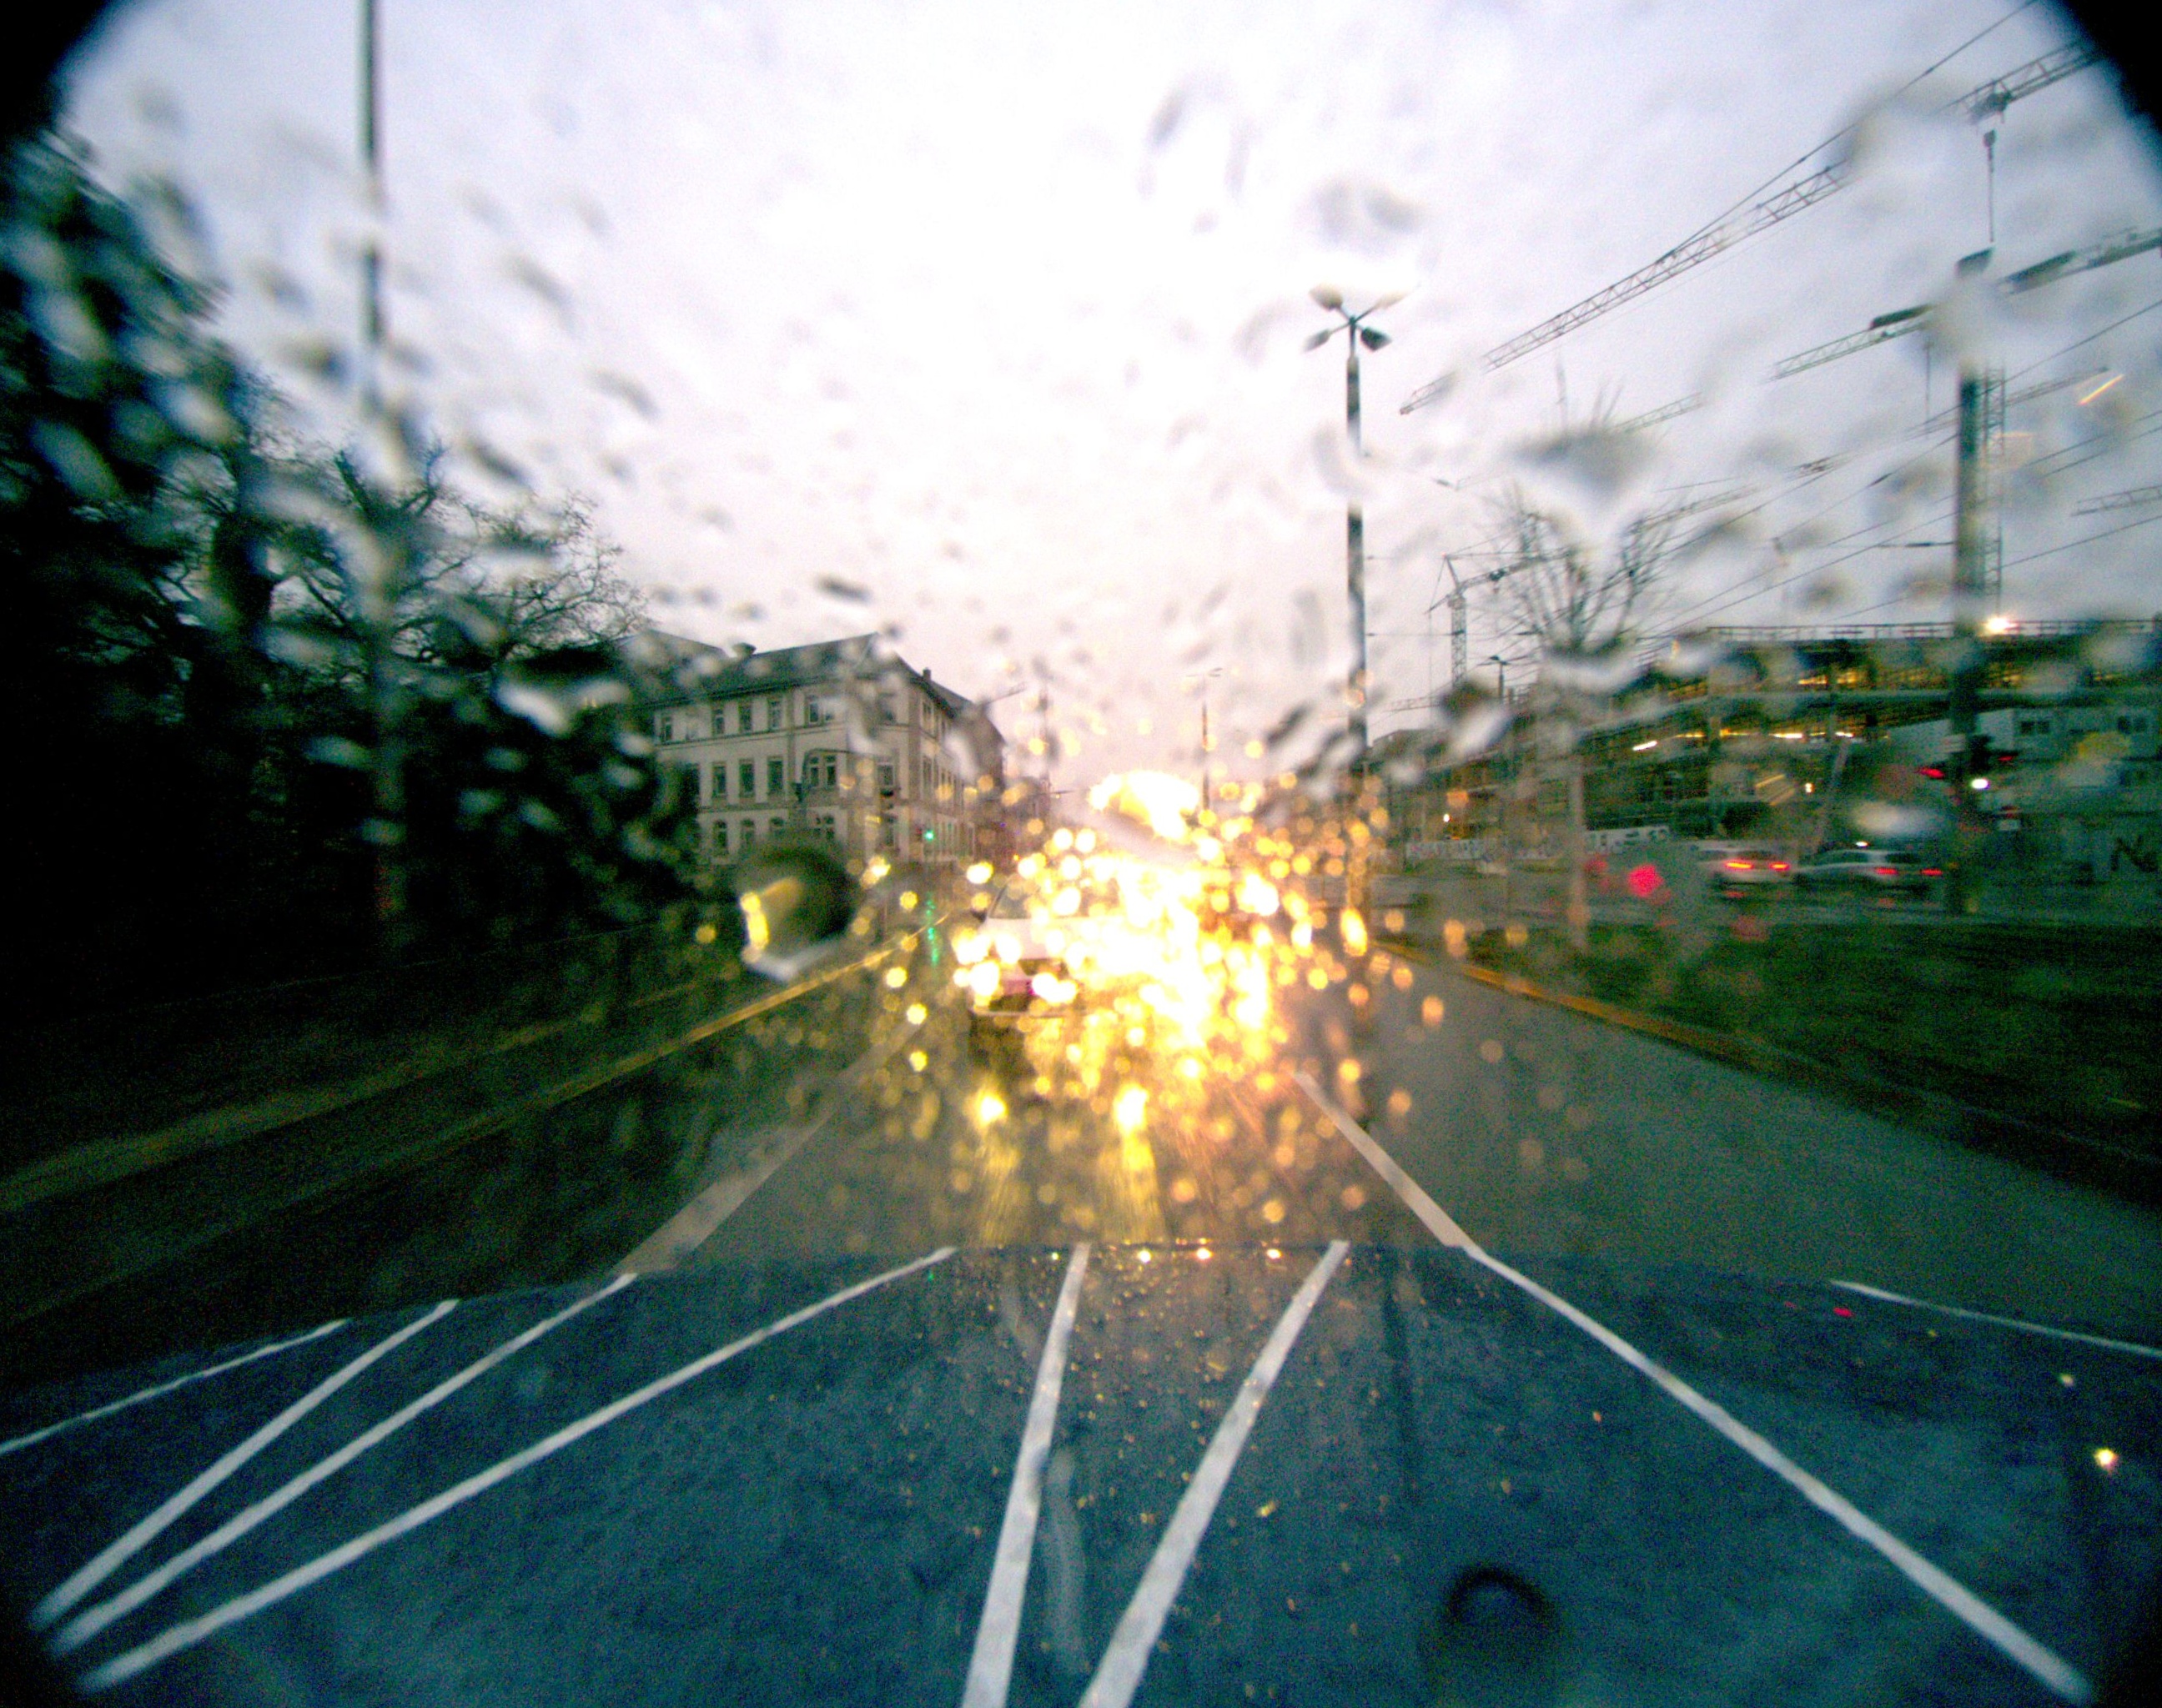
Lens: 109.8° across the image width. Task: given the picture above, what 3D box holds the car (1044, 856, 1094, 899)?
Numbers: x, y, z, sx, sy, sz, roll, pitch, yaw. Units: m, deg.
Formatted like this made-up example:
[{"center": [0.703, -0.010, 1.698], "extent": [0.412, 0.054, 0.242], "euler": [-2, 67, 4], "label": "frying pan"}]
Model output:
[{"center": [-0.483, 0.855, 29.488], "extent": [1.764, 1.443, 3.999], "euler": [-2, 1, -1], "label": "car"}]

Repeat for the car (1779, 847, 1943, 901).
[{"center": [28.697, 0.668, 28.181], "extent": [1.886, 1.779, 4.176], "euler": [-2, 1, 3], "label": "car"}]

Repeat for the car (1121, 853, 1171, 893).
[{"center": [2.941, 0.840, 35.215], "extent": [1.844, 1.644, 4.323], "euler": [-2, 1, -1], "label": "car"}]

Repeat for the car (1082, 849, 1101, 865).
[{"center": [1.076, 0.272, 80.257], "extent": [1.844, 1.547, 3.999], "euler": [-2, 1, 0], "label": "car"}]

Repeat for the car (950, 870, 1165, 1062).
[{"center": [-0.243, 0.989, 8.414], "extent": [1.764, 1.443, 3.999], "euler": [-2, 1, -1], "label": "car"}]

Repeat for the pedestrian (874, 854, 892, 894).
[{"center": [-9.452, 0.938, 36.266], "extent": [0.675, 1.868, 0.714], "euler": [-2, 1, -18], "label": "pedestrian"}]

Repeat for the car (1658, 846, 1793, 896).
[{"center": [25.512, 0.594, 30.323], "extent": [1.885, 1.779, 4.600], "euler": [-2, 1, 7], "label": "car"}]

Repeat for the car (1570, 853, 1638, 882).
[{"center": [31.383, 0.752, 45.723], "extent": [1.884, 1.565, 4.003], "euler": [-2, 1, 10], "label": "car"}]

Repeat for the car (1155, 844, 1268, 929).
[{"center": [2.937, 0.666, 17.937], "extent": [1.858, 1.723, 3.999], "euler": [-2, 1, -1], "label": "car"}]

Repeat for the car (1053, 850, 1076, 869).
[{"center": [-1.440, 0.484, 66.659], "extent": [1.844, 1.547, 3.999], "euler": [-2, 1, 0], "label": "car"}]

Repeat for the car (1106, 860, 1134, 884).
[{"center": [2.842, 1.305, 55.821], "extent": [1.844, 1.547, 3.999], "euler": [-2, 1, 0], "label": "car"}]
